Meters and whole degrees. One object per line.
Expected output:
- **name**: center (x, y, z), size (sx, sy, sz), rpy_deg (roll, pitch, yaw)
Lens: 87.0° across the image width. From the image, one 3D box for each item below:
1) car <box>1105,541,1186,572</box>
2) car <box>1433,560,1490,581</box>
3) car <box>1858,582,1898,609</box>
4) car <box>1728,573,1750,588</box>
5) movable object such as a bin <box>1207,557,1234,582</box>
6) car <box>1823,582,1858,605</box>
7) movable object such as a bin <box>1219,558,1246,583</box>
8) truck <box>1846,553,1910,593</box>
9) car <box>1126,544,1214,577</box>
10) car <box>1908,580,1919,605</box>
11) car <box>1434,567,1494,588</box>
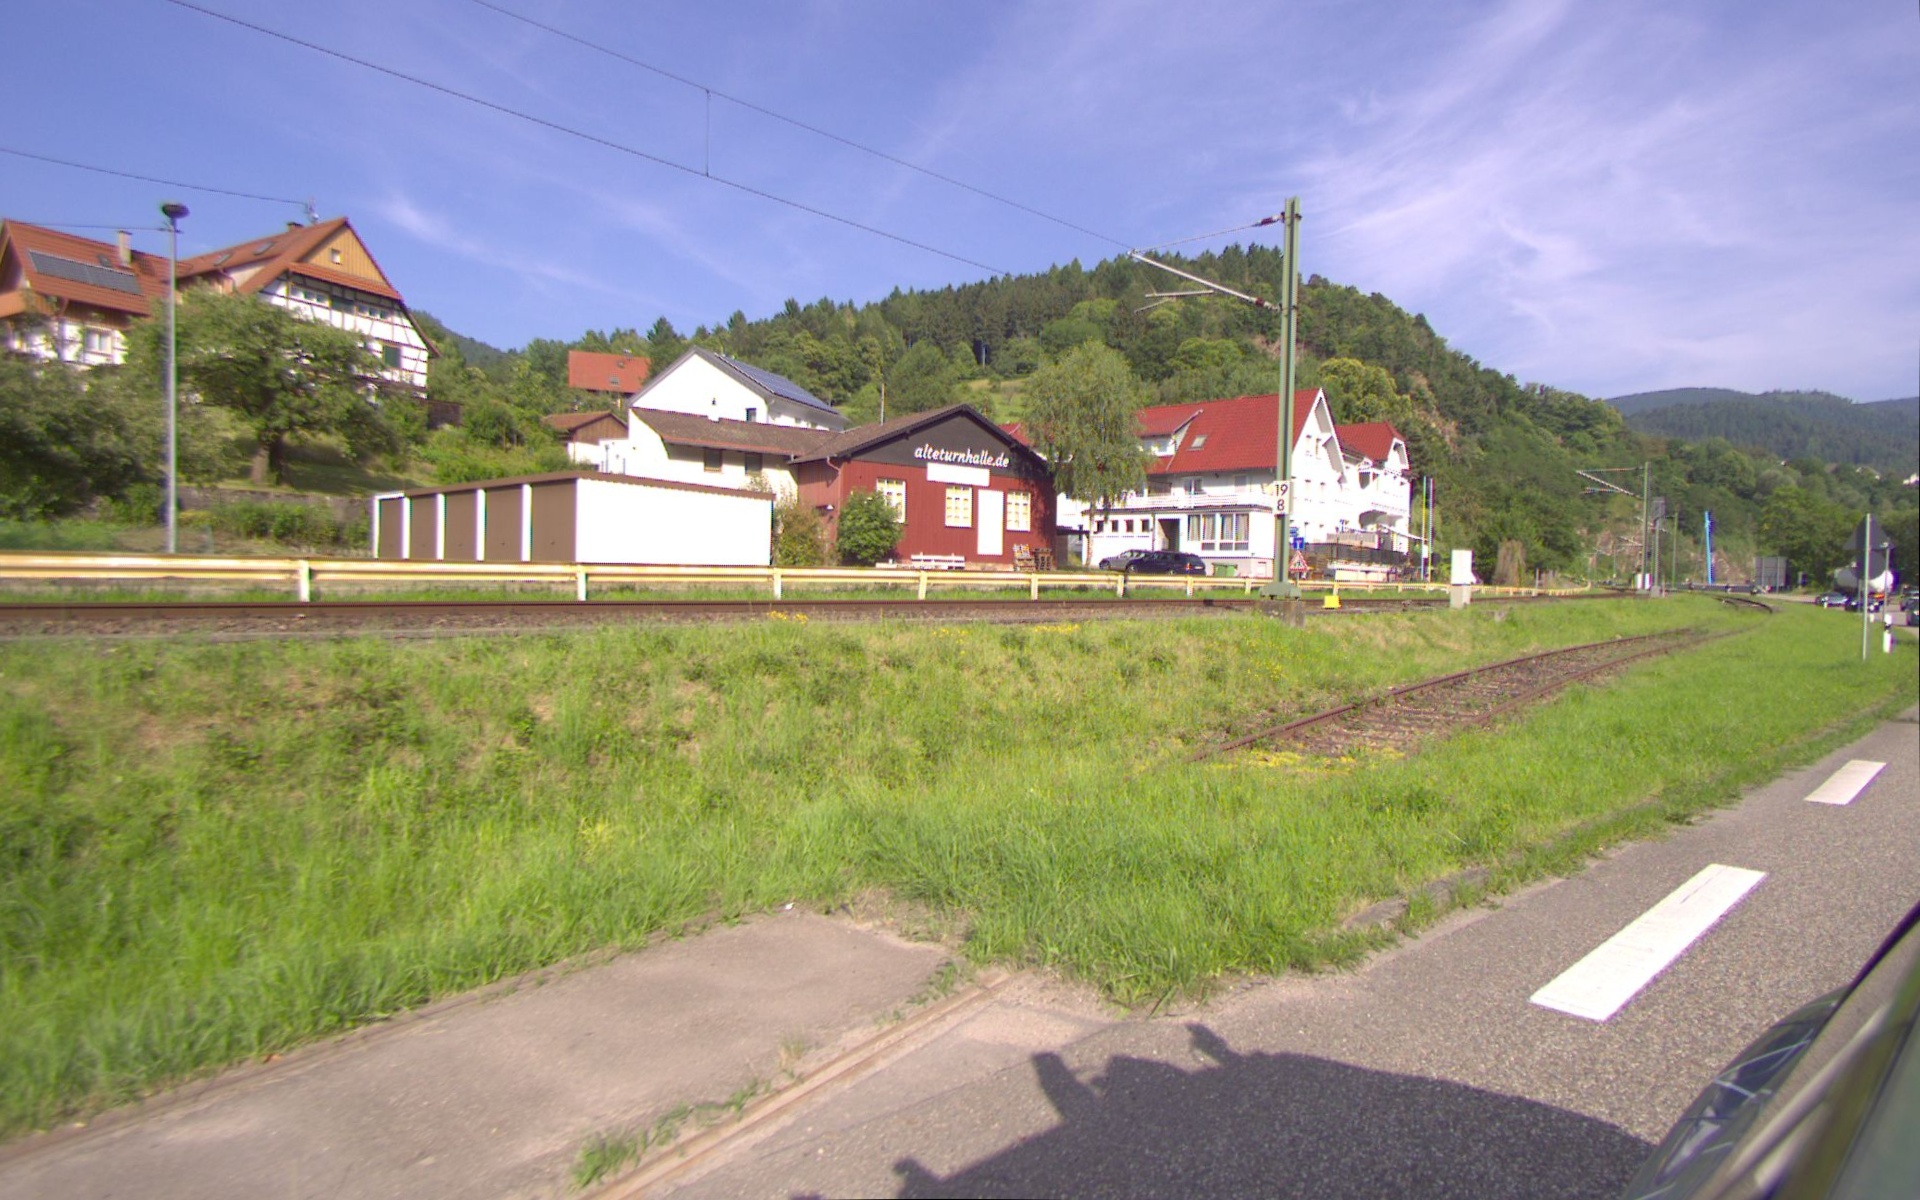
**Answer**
- **car**: center (10.117, -2.381, 55.254), size (1.796, 1.392, 3.991), rpy_deg (1, 4, -45)
- **car**: center (42.029, -2.465, 84.887), size (3.978, 1.549, 1.974), rpy_deg (4, 2, 36)
- **car**: center (73.846, -0.392, 81.482), size (1.991, 2.038, 3.944), rpy_deg (5, 3, 38)
- **car**: center (114.368, -2.821, 148.627), size (1.986, 2.038, 3.955), rpy_deg (4, 3, 32)
- **movable object such as a bin**: center (11.258, -1.305, 43.769), size (0.808, 1.064, 0.897), rpy_deg (0, -1, 44)
- **car**: center (84.644, -0.639, 97.368), size (1.988, 2.038, 3.950), rpy_deg (5, 3, 35)
- **movable object such as a bin**: center (11.964, -1.281, 44.487), size (0.808, 1.064, 0.897), rpy_deg (0, -1, 44)
- **truck**: center (93.952, -2.677, 103.783), size (2.740, 3.883, 14.385), rpy_deg (0, 1, 34)
- **car**: center (10.492, -2.001, 50.779), size (1.794, 1.392, 3.994), rpy_deg (1, 4, -43)
- **car**: center (78.023, -0.546, 81.279), size (1.987, 2.038, 3.951), rpy_deg (4, 3, 34)
- **car**: center (43.416, -1.960, 87.155), size (4.302, 1.549, 1.974), rpy_deg (4, 2, 36)
